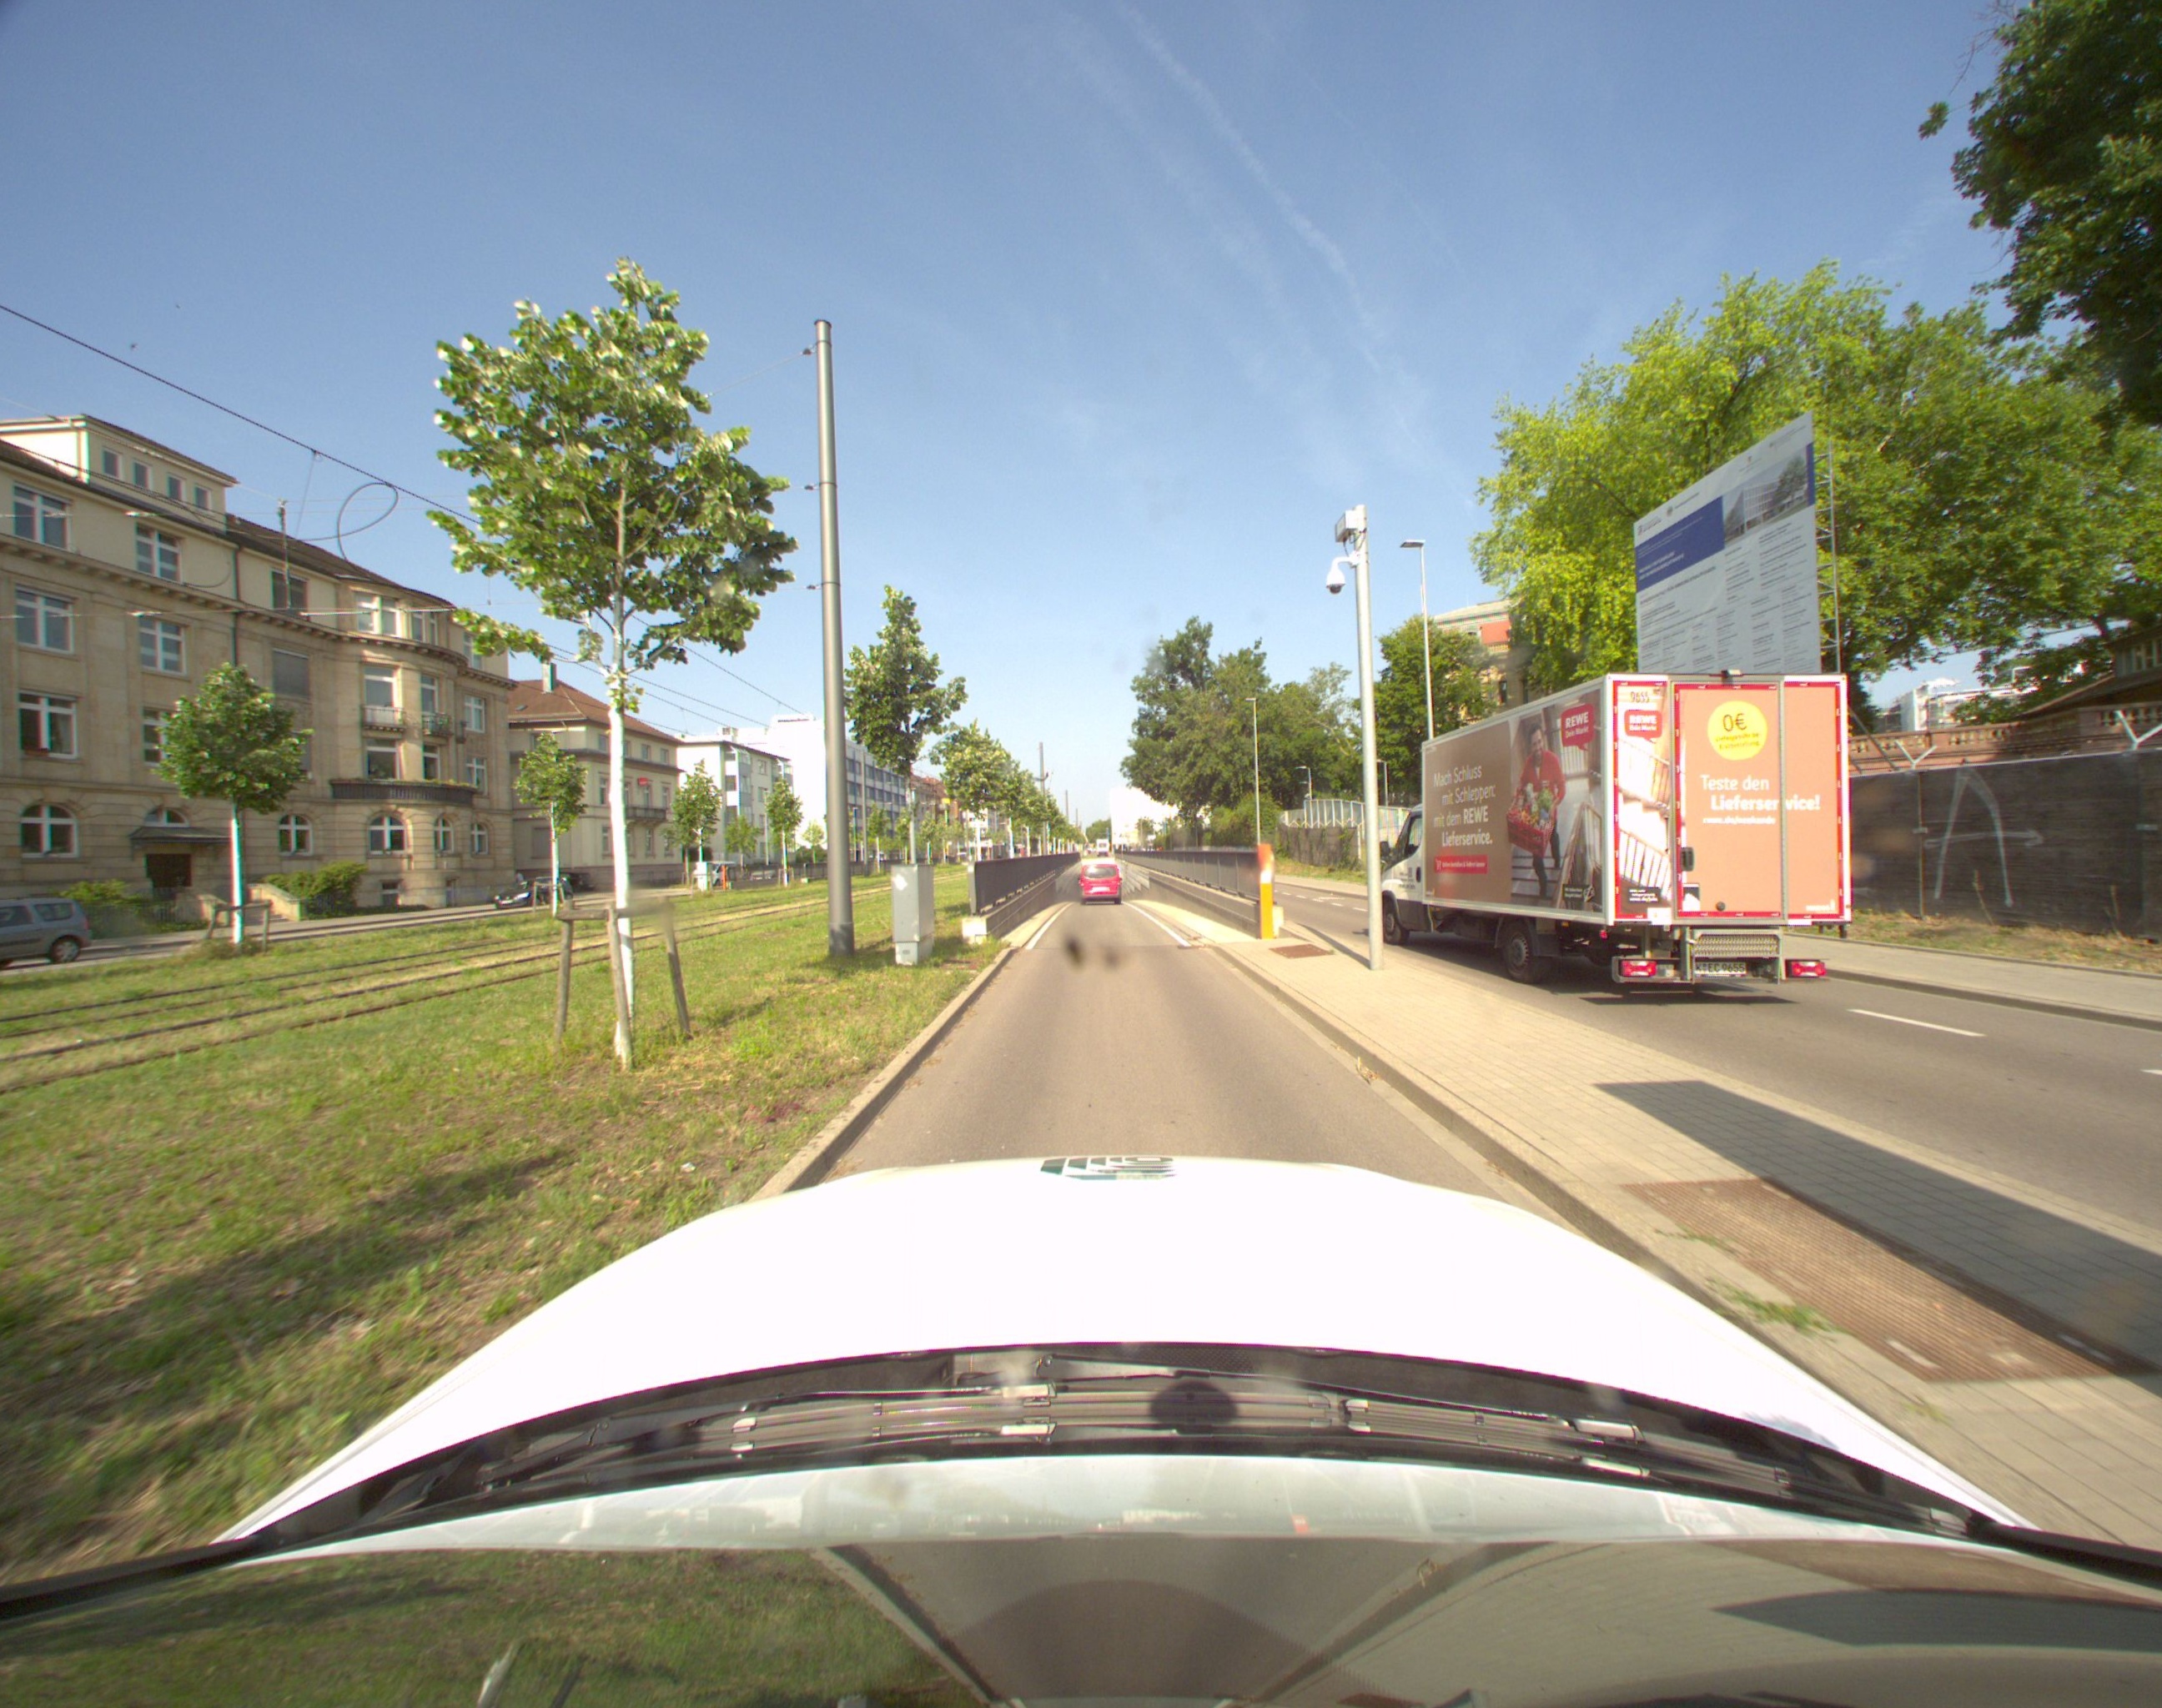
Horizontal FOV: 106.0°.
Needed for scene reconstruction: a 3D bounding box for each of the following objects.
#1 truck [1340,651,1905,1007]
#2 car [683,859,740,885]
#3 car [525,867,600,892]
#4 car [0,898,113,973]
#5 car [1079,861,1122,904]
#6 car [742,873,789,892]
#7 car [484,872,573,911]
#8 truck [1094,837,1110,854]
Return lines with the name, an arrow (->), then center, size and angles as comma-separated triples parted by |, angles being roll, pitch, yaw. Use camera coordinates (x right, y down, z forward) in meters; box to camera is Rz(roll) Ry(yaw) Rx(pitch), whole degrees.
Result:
truck -> 5.892, -0.204, 10.911 | 2.493, 3.061, 7.821 | 0, 0, 1
car -> -30.208, 1.487, 66.837 | 2.242, 2.014, 5.261 | 0, -1, 0
car -> -35.973, 1.753, 56.576 | 3.978, 1.552, 1.653 | -2, 0, -3
car -> -25.542, 1.957, 18.422 | 1.990, 1.576, 4.521 | -3, 0, -5
car -> 0.958, 1.287, 38.445 | 1.893, 1.859, 4.003 | 0, 0, 3
car -> -25.742, 2.314, 66.634 | 1.986, 1.467, 4.439 | -2, -1, 2
car -> -26.161, 1.736, 38.726 | 1.513, 1.464, 3.824 | -3, 2, 0
truck -> 4.768, -1.931, 187.915 | 3.379, 3.726, 10.452 | -2, 0, 1
